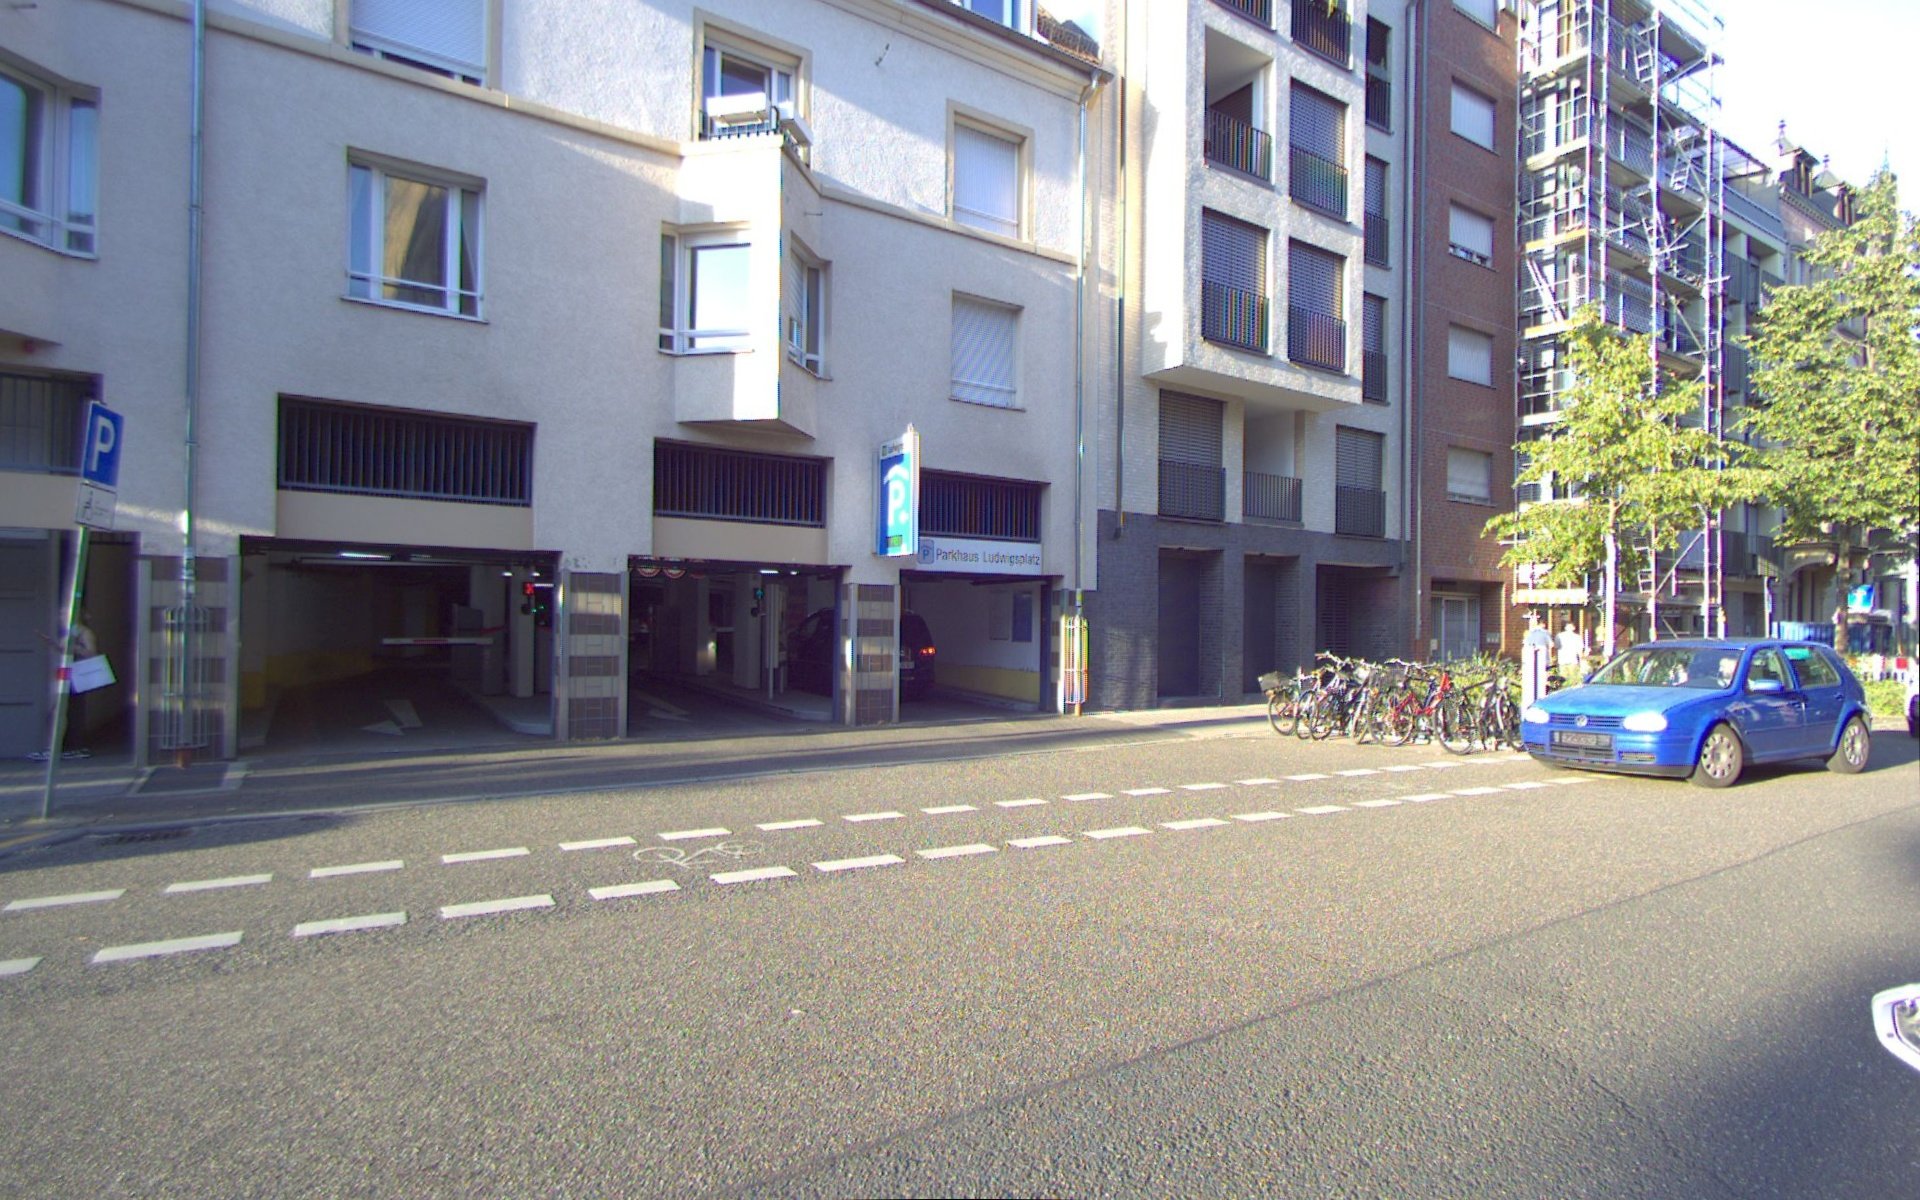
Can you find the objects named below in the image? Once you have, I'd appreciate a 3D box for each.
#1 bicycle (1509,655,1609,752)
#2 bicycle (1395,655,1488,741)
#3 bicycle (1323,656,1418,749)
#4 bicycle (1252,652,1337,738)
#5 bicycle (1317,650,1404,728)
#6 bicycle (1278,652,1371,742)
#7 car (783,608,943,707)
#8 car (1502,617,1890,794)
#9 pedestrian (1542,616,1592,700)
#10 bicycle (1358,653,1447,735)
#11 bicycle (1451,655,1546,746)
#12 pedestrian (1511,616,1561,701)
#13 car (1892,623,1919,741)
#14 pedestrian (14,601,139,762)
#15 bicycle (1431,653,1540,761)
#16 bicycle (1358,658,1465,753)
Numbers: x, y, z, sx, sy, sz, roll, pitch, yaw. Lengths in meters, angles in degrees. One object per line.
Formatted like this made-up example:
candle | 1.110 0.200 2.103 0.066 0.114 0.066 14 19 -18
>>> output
bicycle | 7.922 1.337 13.272 1.535 1.194 0.504 2 -1 -33
bicycle | 6.972 1.395 14.520 1.535 1.165 0.484 2 -1 -33
bicycle | 5.566 1.357 13.587 1.535 1.175 0.378 2 -1 -33
bicycle | 4.910 1.367 14.709 1.390 1.199 0.385 2 -1 -33
bicycle | 6.287 1.373 15.735 1.535 1.147 0.454 2 -1 -33
bicycle | 5.175 1.350 14.239 1.535 1.205 0.384 2 -1 -33
car | -1.939 0.997 19.001 1.543 1.639 3.849 1 -1 -30
car | 7.867 1.023 10.701 4.065 1.583 1.683 1 -2 -27
pedestrian | 13.321 1.266 22.045 0.650 1.807 0.737 1 -2 -34
bicycle | 6.699 1.394 15.171 1.535 1.159 0.464 2 -1 -33
bicycle | 7.489 1.363 13.947 1.535 1.178 0.484 2 -1 -33
pedestrian | 12.572 1.261 21.923 0.649 1.807 0.737 1 -2 -32
car | 16.176 1.225 15.394 4.277 1.719 1.862 2 -4 -35
pedestrian | -9.064 0.819 10.330 0.766 1.593 0.532 1 -1 -16
bicycle | 6.452 1.276 12.316 1.535 1.237 0.494 2 -1 -33
bicycle | 5.917 1.350 13.144 1.532 1.172 0.415 1 -1 -28
